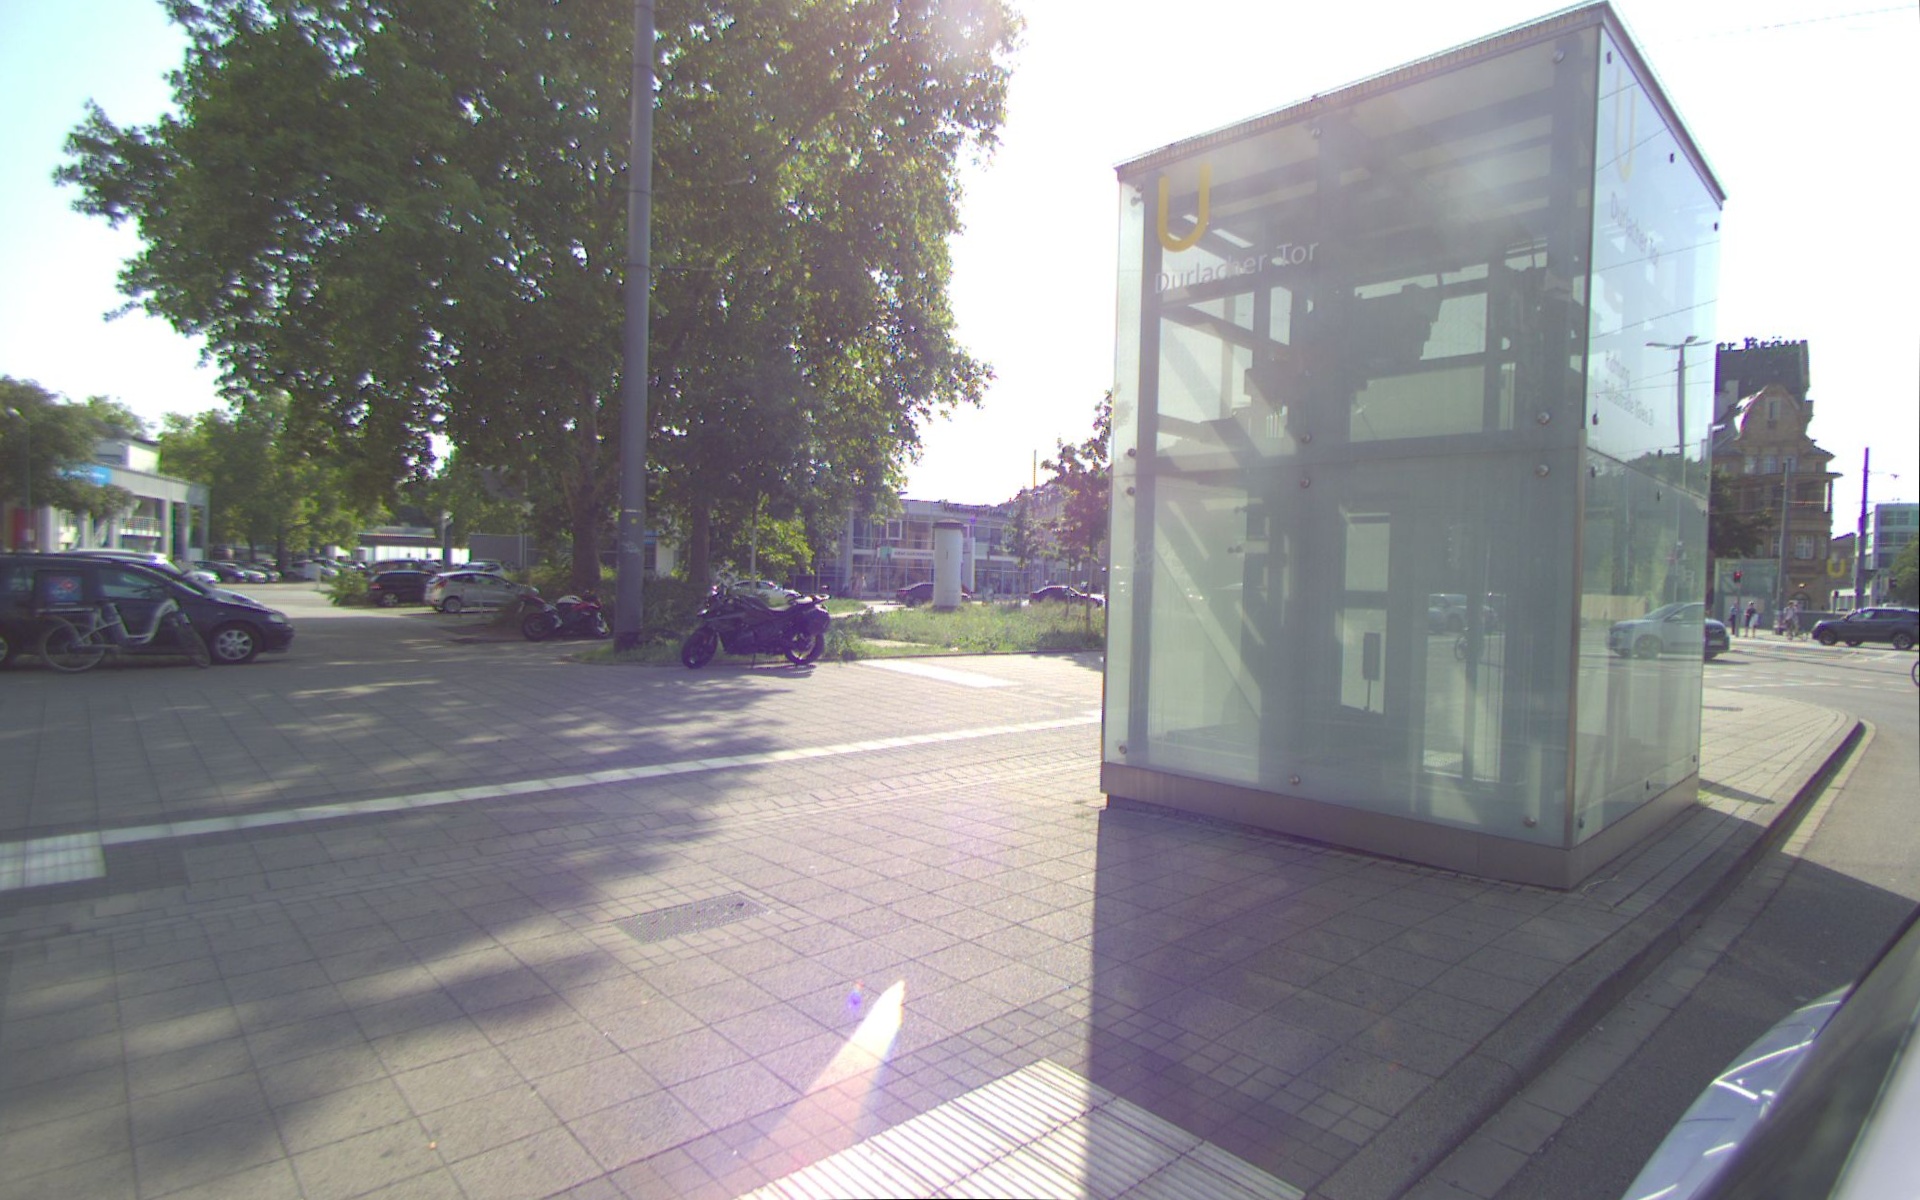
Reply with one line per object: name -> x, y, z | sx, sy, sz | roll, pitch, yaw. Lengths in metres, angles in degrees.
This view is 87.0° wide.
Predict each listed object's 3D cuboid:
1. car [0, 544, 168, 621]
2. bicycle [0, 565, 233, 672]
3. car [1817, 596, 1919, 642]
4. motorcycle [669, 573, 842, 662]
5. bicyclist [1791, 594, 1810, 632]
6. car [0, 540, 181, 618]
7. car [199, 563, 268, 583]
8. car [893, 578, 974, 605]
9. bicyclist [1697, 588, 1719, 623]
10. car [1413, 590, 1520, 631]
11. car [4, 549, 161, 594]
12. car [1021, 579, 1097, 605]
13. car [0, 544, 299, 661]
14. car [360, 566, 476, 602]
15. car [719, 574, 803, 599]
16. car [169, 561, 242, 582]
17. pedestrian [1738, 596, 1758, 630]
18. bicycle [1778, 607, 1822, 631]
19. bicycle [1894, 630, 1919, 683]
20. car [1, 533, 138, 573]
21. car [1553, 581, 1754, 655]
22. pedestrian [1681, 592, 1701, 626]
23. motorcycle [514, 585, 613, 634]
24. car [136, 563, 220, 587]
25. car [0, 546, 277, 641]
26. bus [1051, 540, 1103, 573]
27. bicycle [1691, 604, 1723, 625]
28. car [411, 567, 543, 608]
car -> -19.060, -0.381, 21.092 | 3.930, 1.526, 1.997 | 0, 2, -41
bicycle -> -10.629, 0.214, 12.799 | 0.523, 1.250, 2.265 | 3, 2, 43
car -> 35.955, 0.758, 39.083 | 1.707, 1.601, 3.985 | 2, 1, -22
motorcycle -> -2.848, 0.241, 14.161 | 2.254, 1.161, 0.706 | 1, 1, -26
bicyclist -> 39.298, 0.585, 47.320 | 0.583, 1.752, 0.588 | 2, 0, 35
car -> -20.385, -0.491, 23.161 | 3.930, 1.665, 1.997 | 0, 2, -41
car -> -54.668, -2.038, 76.243 | 3.917, 1.393, 1.746 | 1, 1, -25
car -> -1.575, -0.506, 59.029 | 4.305, 1.387, 2.005 | 1, 1, -17
bicyclist -> 37.496, 0.284, 50.731 | 0.575, 1.738, 0.649 | 2, 0, -17
car -> 20.363, 0.404, 40.881 | 1.766, 1.433, 4.008 | 2, 1, -11
car -> -29.666, -0.951, 34.309 | 3.932, 1.393, 1.996 | 0, 2, -43
car -> 5.841, -0.471, 60.318 | 4.315, 1.387, 2.000 | 2, 1, 1
car -> -11.687, 0.004, 13.954 | 4.121, 1.459, 1.660 | 0, 2, -41
car -> -22.736, -0.673, 42.530 | 3.932, 1.393, 1.996 | 0, 2, -43
car -> -11.022, -0.747, 55.961 | 4.305, 1.180, 2.005 | 1, 1, -20
car -> -54.054, -2.016, 72.559 | 3.917, 1.393, 1.746 | 1, 1, -25
pedestrian -> 38.942, 0.648, 50.015 | 0.495, 1.661, 0.525 | 2, 0, -14
bicycle -> 39.279, 0.879, 47.347 | 1.517, 1.037, 0.428 | 3, 1, 36
bicycle -> 18.924, 1.103, 18.850 | 0.518, 1.002, 2.201 | 0, 0, -26
car -> -34.810, -1.815, 39.646 | 3.932, 1.393, 1.739 | 0, 2, -43
car -> 19.918, 0.445, 29.381 | 1.765, 1.850, 4.784 | 1, 1, -14
pedestrian -> 37.920, 0.470, 52.505 | 0.496, 1.748, 0.624 | 2, 0, 1
motorcycle -> -8.580, 0.216, 21.914 | 1.916, 1.014, 0.706 | 1, 1, -26
car -> -49.461, -1.578, 64.092 | 3.917, 1.393, 1.746 | 1, 1, -25
car -> -14.759, -0.139, 18.174 | 3.930, 1.526, 1.997 | 0, 2, -41
bus -> 11.372, -4.222, 99.723 | 2.840, 3.021, 11.511 | 2, 1, -5
bicycle -> 37.474, 0.738, 50.769 | 1.494, 1.037, 0.435 | 1, 1, -17
car -> -17.560, -0.446, 36.873 | 3.932, 1.393, 1.996 | 0, 2, -43
